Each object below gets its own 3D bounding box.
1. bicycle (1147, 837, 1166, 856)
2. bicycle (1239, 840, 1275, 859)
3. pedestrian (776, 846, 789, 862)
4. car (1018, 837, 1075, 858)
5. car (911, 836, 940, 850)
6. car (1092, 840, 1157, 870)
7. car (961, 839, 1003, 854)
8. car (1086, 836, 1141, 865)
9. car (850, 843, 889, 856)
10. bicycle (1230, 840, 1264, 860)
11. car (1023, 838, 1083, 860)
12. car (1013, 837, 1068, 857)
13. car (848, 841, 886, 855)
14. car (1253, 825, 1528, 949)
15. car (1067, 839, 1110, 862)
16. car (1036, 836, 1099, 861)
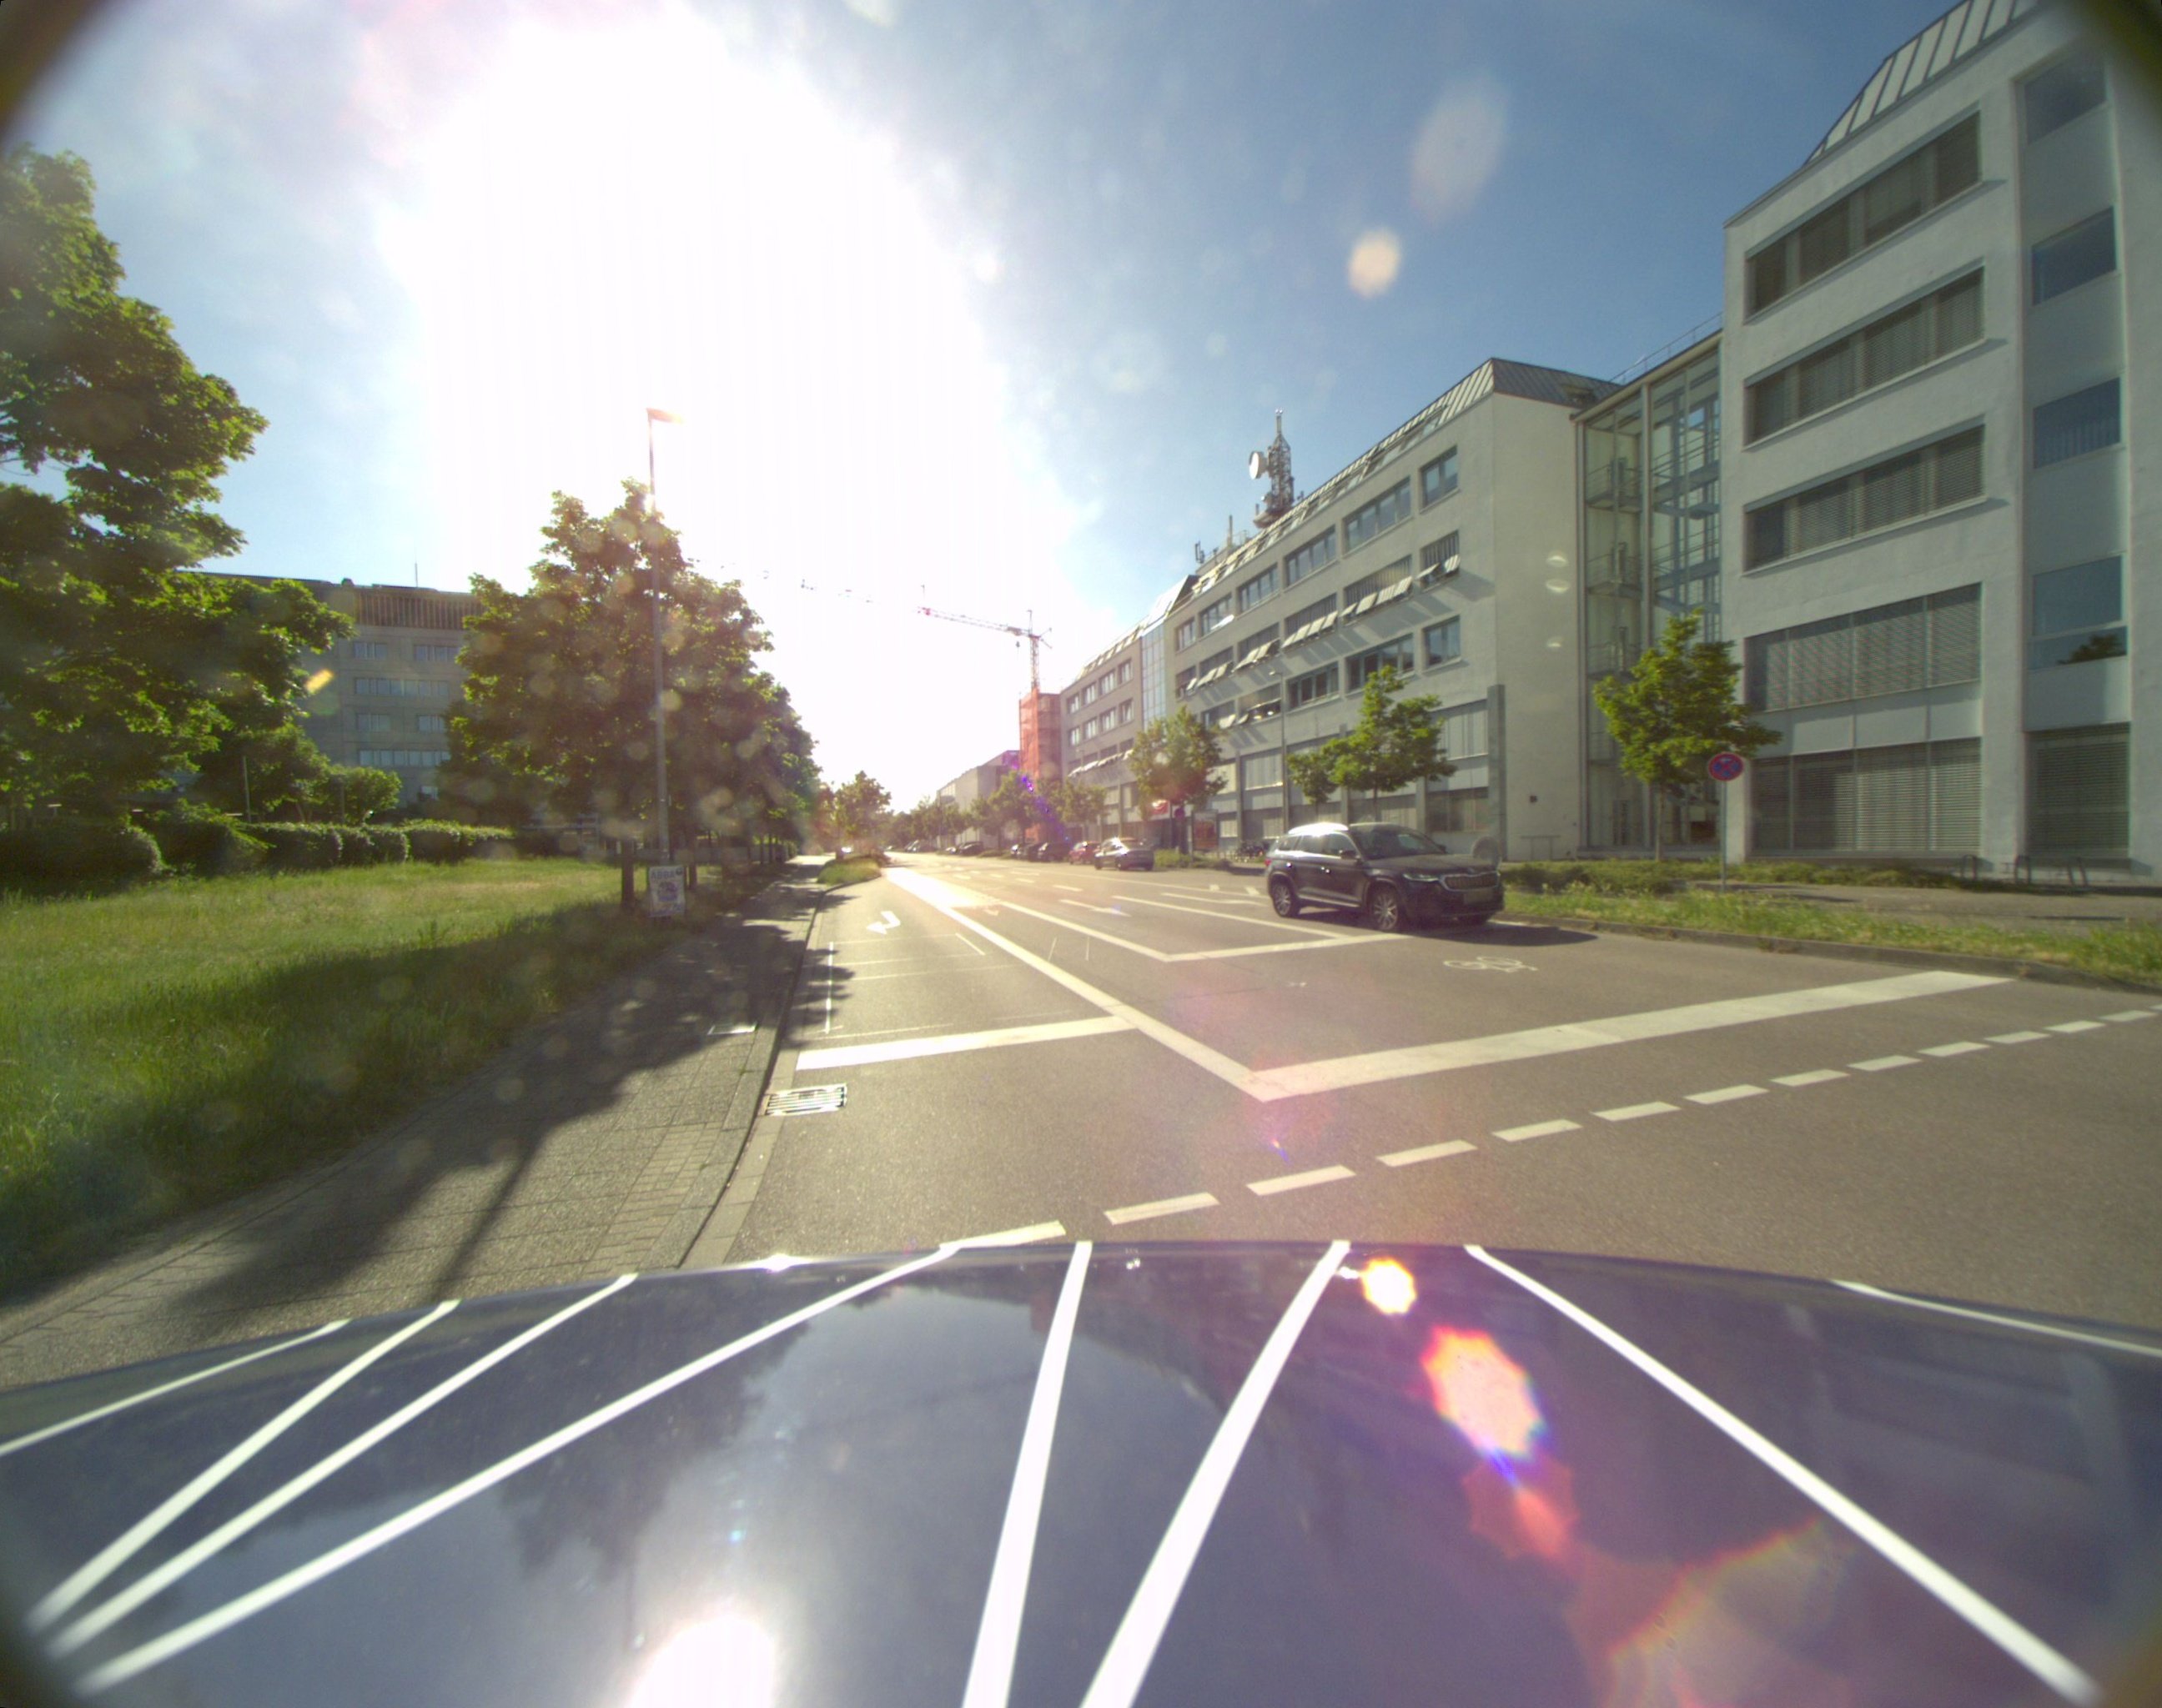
[{"bbox_3d":[5.384,-0.551,54.596,0.711,1.339,2.229,-1,1,-12],"label":"bicycle"},{"bbox_3d":[9.590,-0.250,41.463,1.794,1.063,0.621,-1,2,-10],"label":"bicycle"},{"bbox_3d":[-23.486,0.017,59.773,0.848,1.210,0.727,-1,2,-30],"label":"pedestrian"},{"bbox_3d":[-2.928,-0.560,64.521,4.402,1.424,1.690,-4,2,-18],"label":"car"},{"bbox_3d":[-31.072,-2.281,151.835,5.590,2.469,2.007,-4,3,-15],"label":"car"},{"bbox_3d":[2.175,0.003,39.634,1.695,1.460,4.538,-1,1,-20],"label":"car"},{"bbox_3d":[-11.681,-0.898,89.696,4.403,1.424,1.974,-4,2,-21],"label":"car"},{"bbox_3d":[1.915,-0.242,45.925,1.695,1.598,4.302,-4,2,-21],"label":"car"},{"bbox_3d":[-25.210,-0.586,90.457,4.419,1.455,1.892,-1,1,-17],"label":"car"},{"bbox_3d":[9.186,-0.218,42.147,1.773,1.063,0.555,-1,2,-10],"label":"bicycle"},{"bbox_3d":[-2.250,-0.426,60.740,4.403,1.424,1.690,-4,2,-20],"label":"car"},{"bbox_3d":[-3.549,-0.616,66.567,4.402,1.424,1.690,-4,2,-18],"label":"car"},{"bbox_3d":[-26.065,-0.734,92.577,4.419,1.632,2.071,-1,1,-17],"label":"car"},{"bbox_3d":[4.912,0.415,12.852,1.760,1.619,4.470,-4,2,-18],"label":"car"},{"bbox_3d":[0.463,-0.258,50.593,1.694,1.424,3.865,-4,2,-17],"label":"car"},{"bbox_3d":[-1.001,-0.443,57.940,4.403,1.529,1.690,-4,2,-22],"label":"car"}]
